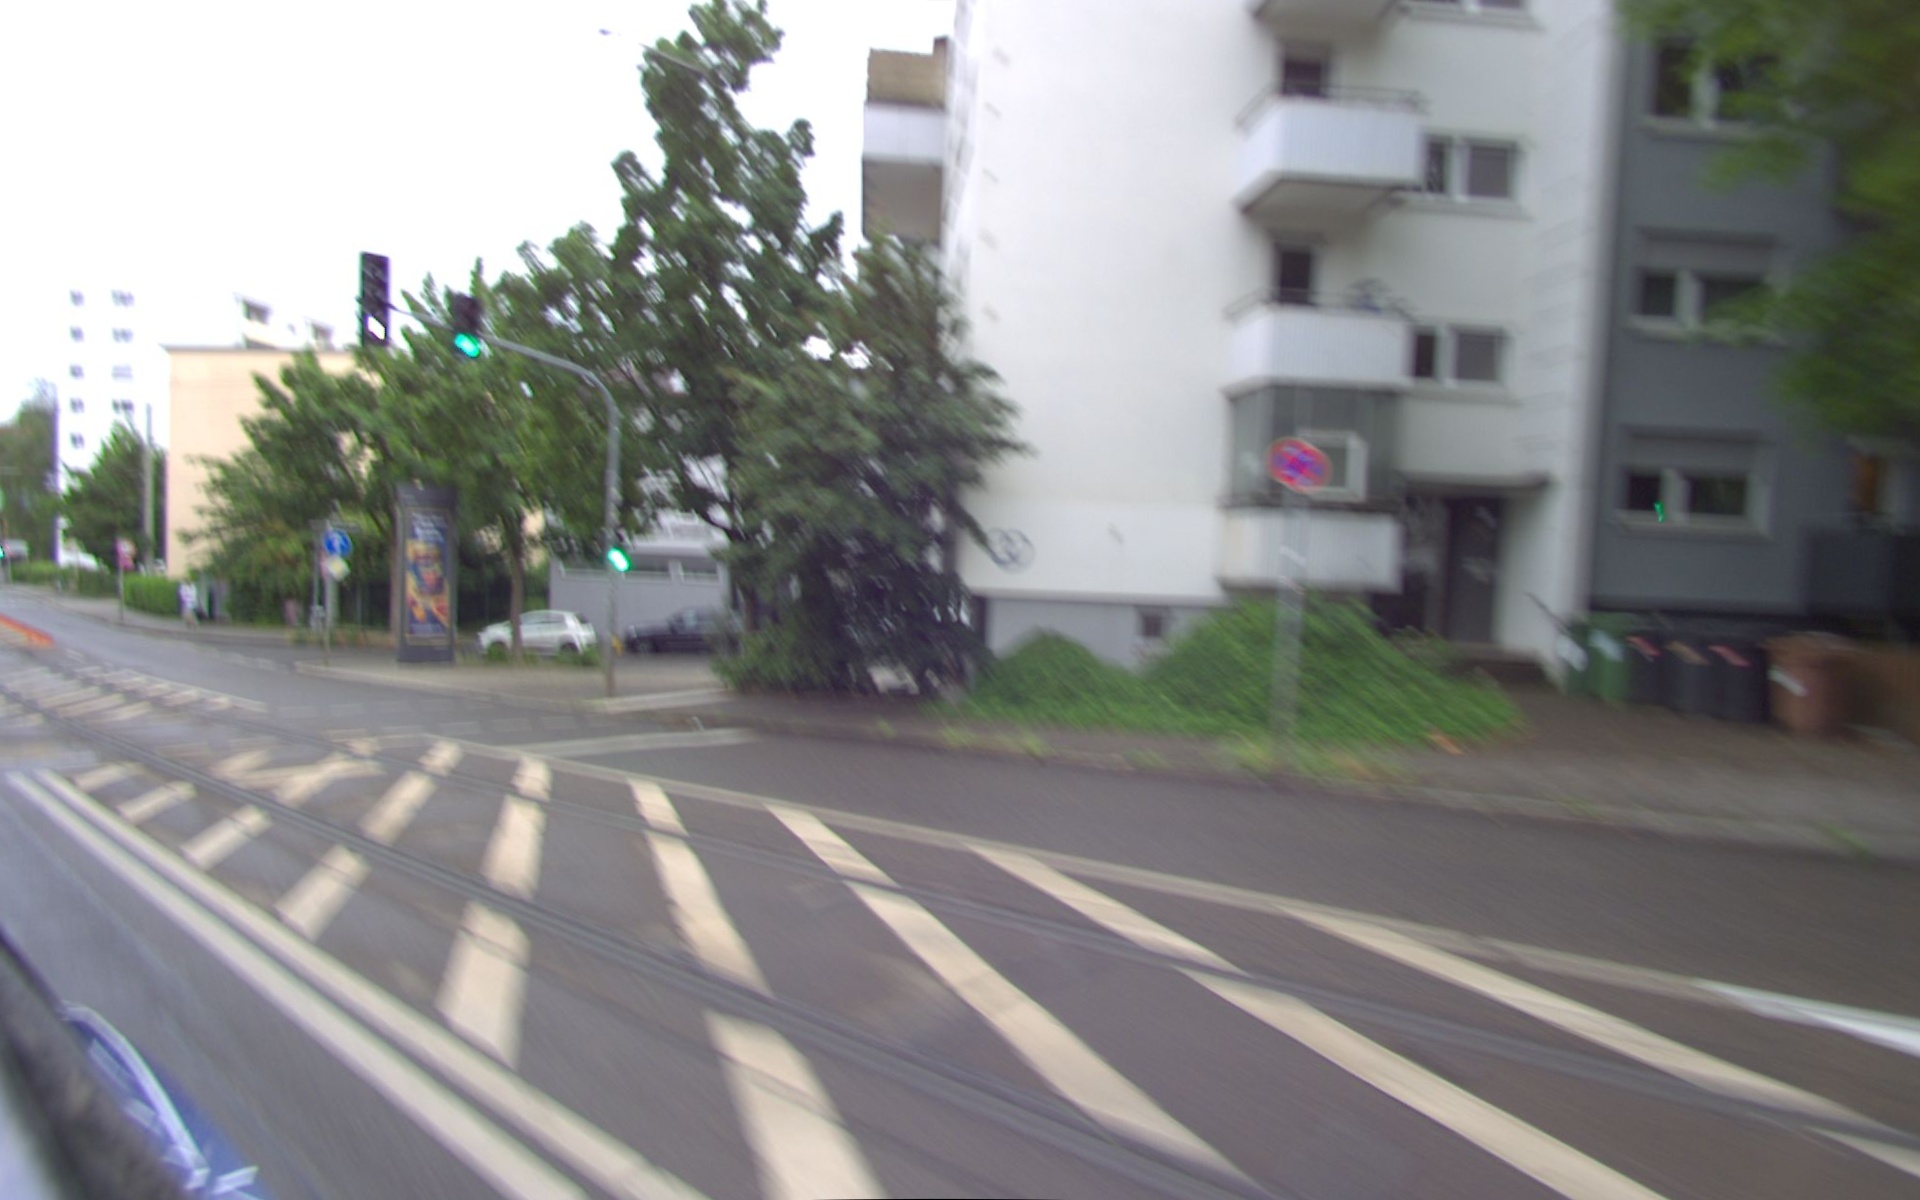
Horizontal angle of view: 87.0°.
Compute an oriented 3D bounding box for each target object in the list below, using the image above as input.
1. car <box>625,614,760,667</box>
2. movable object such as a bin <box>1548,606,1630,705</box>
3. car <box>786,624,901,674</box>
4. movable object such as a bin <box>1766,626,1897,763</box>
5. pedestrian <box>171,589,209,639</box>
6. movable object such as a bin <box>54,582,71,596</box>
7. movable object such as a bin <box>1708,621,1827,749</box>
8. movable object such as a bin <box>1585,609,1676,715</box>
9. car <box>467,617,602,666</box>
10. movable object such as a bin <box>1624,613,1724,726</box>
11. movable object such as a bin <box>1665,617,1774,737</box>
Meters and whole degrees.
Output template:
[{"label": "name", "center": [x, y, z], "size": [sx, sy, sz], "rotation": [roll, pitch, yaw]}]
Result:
[{"label": "car", "center": [-9.758, 1.472, 37.183], "size": [4.569, 1.718, 1.845], "rotation": [1, 2, -5]}, {"label": "movable object such as a bin", "center": [8.320, 0.721, 13.405], "size": [0.618, 1.242, 0.627], "rotation": [2, 3, -1]}, {"label": "car", "center": [-4.292, 1.811, 37.490], "size": [4.109, 1.590, 1.845], "rotation": [1, 2, -5]}, {"label": "movable object such as a bin", "center": [8.541, 0.907, 9.950], "size": [0.618, 1.242, 0.667], "rotation": [2, 3, -1]}, {"label": "pedestrian", "center": [-30.302, 0.531, 39.853], "size": [1.015, 1.859, 0.911], "rotation": [3, 4, 36]}, {"label": "movable object such as a bin", "center": [-58.761, -0.725, 66.292], "size": [0.759, 0.888, 0.680], "rotation": [4, 3, 36]}, {"label": "movable object such as a bin", "center": [8.452, 0.870, 10.615], "size": [0.618, 1.242, 0.667], "rotation": [2, 3, -1]}, {"label": "movable object such as a bin", "center": [8.378, 0.761, 12.673], "size": [0.618, 1.242, 0.667], "rotation": [2, 3, -1]}, {"label": "car", "center": [-15.423, 1.499, 36.848], "size": [4.099, 1.492, 2.002], "rotation": [2, 3, -3]}, {"label": "movable object such as a bin", "center": [8.406, 0.800, 11.945], "size": [0.618, 1.242, 0.667], "rotation": [2, 3, -1]}, {"label": "movable object such as a bin", "center": [8.431, 0.836, 11.259], "size": [0.618, 1.242, 0.667], "rotation": [2, 3, -1]}]
